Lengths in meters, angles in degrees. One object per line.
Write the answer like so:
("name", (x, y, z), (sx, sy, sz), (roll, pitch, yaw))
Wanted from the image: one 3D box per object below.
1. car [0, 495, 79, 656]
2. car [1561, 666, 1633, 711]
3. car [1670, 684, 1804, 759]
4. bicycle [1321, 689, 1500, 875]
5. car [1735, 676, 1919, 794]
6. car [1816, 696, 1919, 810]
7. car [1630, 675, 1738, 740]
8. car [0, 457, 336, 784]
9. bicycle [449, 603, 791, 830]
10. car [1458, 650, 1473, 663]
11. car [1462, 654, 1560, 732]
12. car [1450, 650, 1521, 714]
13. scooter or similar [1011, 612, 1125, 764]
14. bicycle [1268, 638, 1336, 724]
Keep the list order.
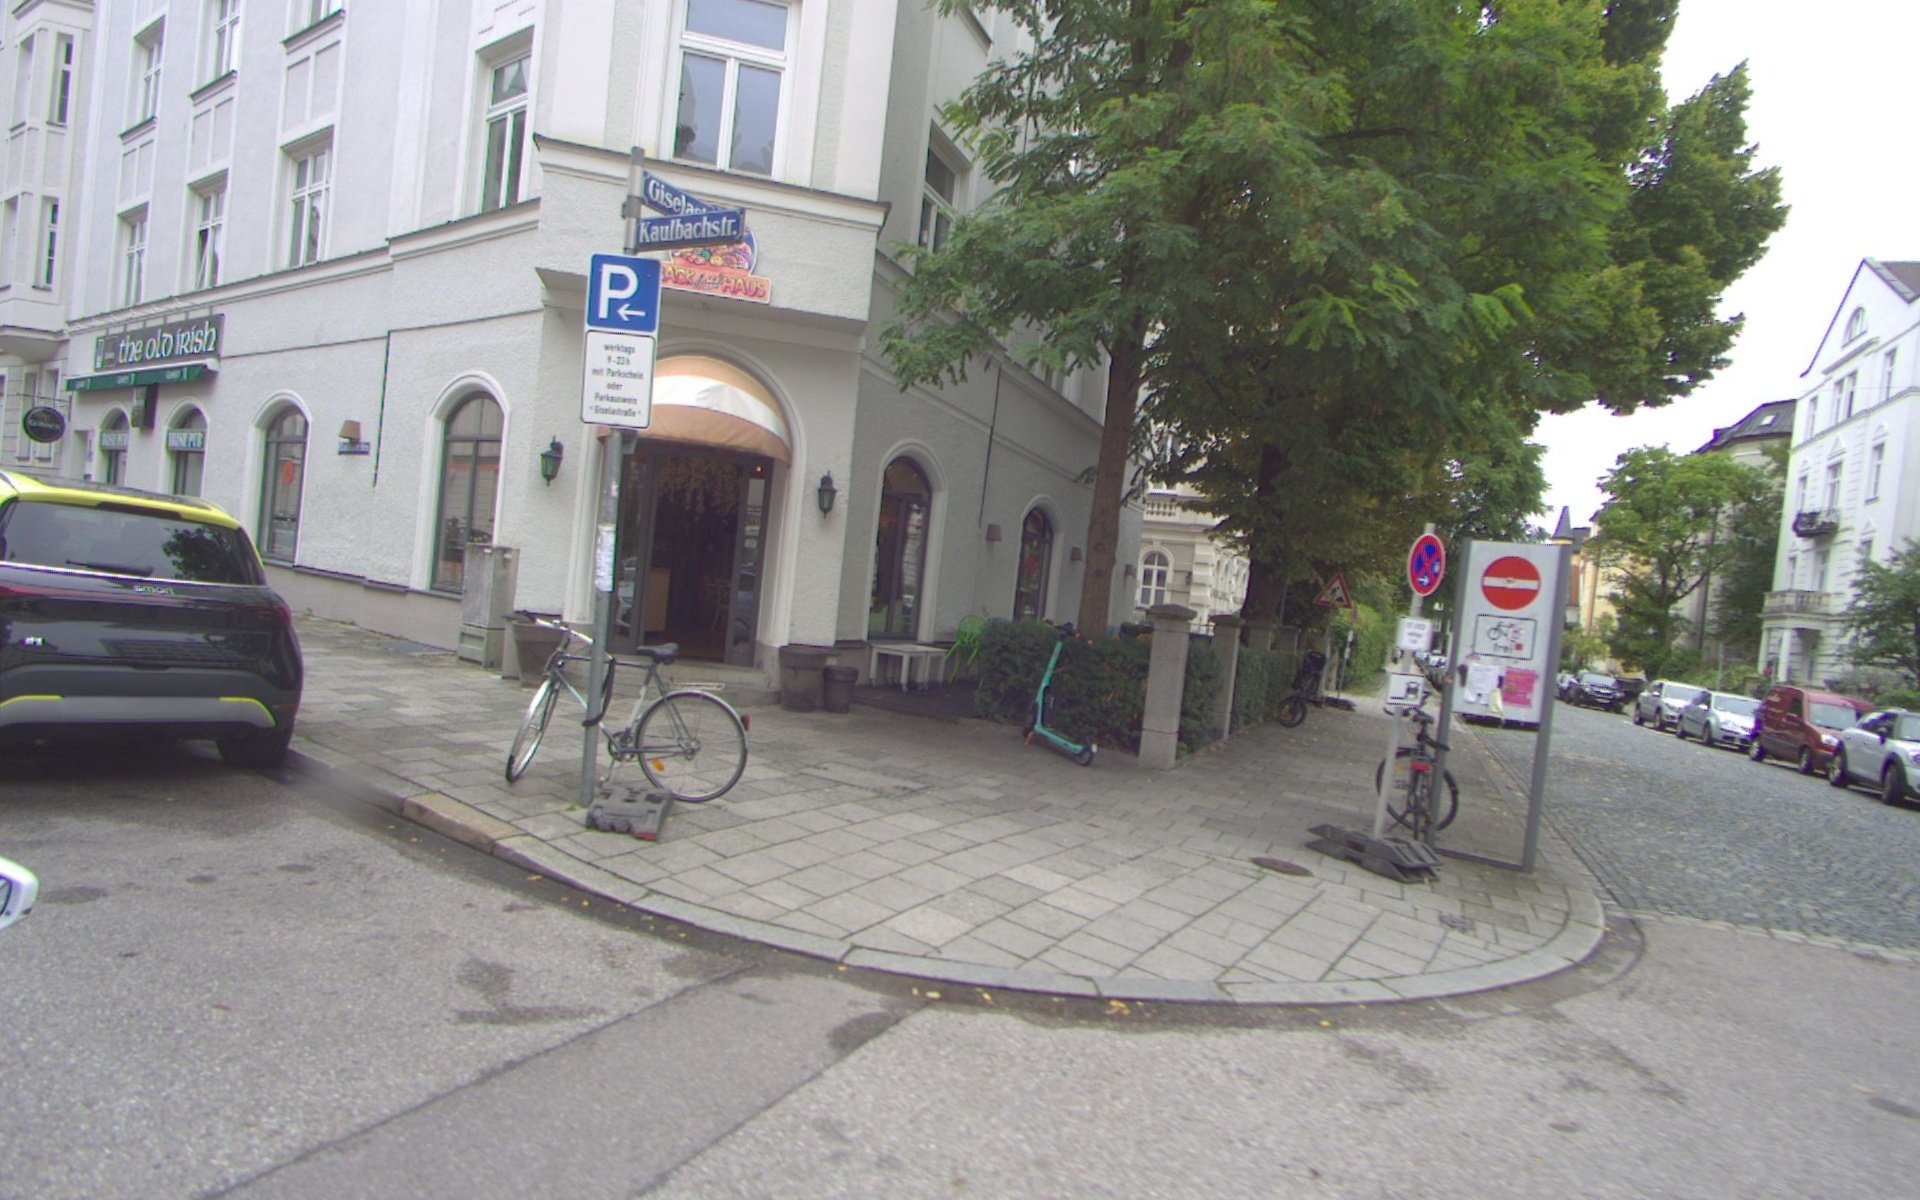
("car", (-10.236, -0.435, 9.747), (3.437, 1.416, 1.668), (7, -1, 35))
("car", (29.281, 4.039, 46.387), (1.964, 1.538, 3.997), (10, 2, 23))
("car", (20.890, 3.216, 27.225), (1.704, 1.427, 3.997), (10, 2, 23))
("bicycle", (3.501, 1.305, 7.708), (0.676, 1.144, 2.003), (8, 1, 38))
("car", (18.342, 2.745, 21.251), (1.744, 1.805, 3.792), (10, 2, 19))
("car", (16.082, 2.597, 16.688), (1.737, 1.557, 3.994), (10, 2, 27))
("car", (23.416, 3.431, 32.694), (1.802, 1.538, 3.997), (10, 2, 23))
("car", (-6.150, -0.030, 6.659), (4.029, 1.637, 1.838), (7, -1, 35))
("bicycle", (-2.040, 0.660, 6.172), (1.712, 1.078, 0.819), (7, 1, 8))
("car", (91.959, 10.239, 183.083), (1.964, 2.039, 3.996), (7, 1, 24))
("car", (14.098, 2.305, 25.937), (1.824, 1.636, 3.995), (5, 0, 25))
("car", (16.232, 2.478, 31.224), (1.607, 1.638, 3.995), (7, 1, 25))
("scooter or similar", (1.009, 0.810, 9.639), (0.395, 1.286, 1.173), (6, 1, -26))
("bicycle", (6.421, 1.442, 18.944), (0.947, 1.326, 3.776), (7, 0, 18))
